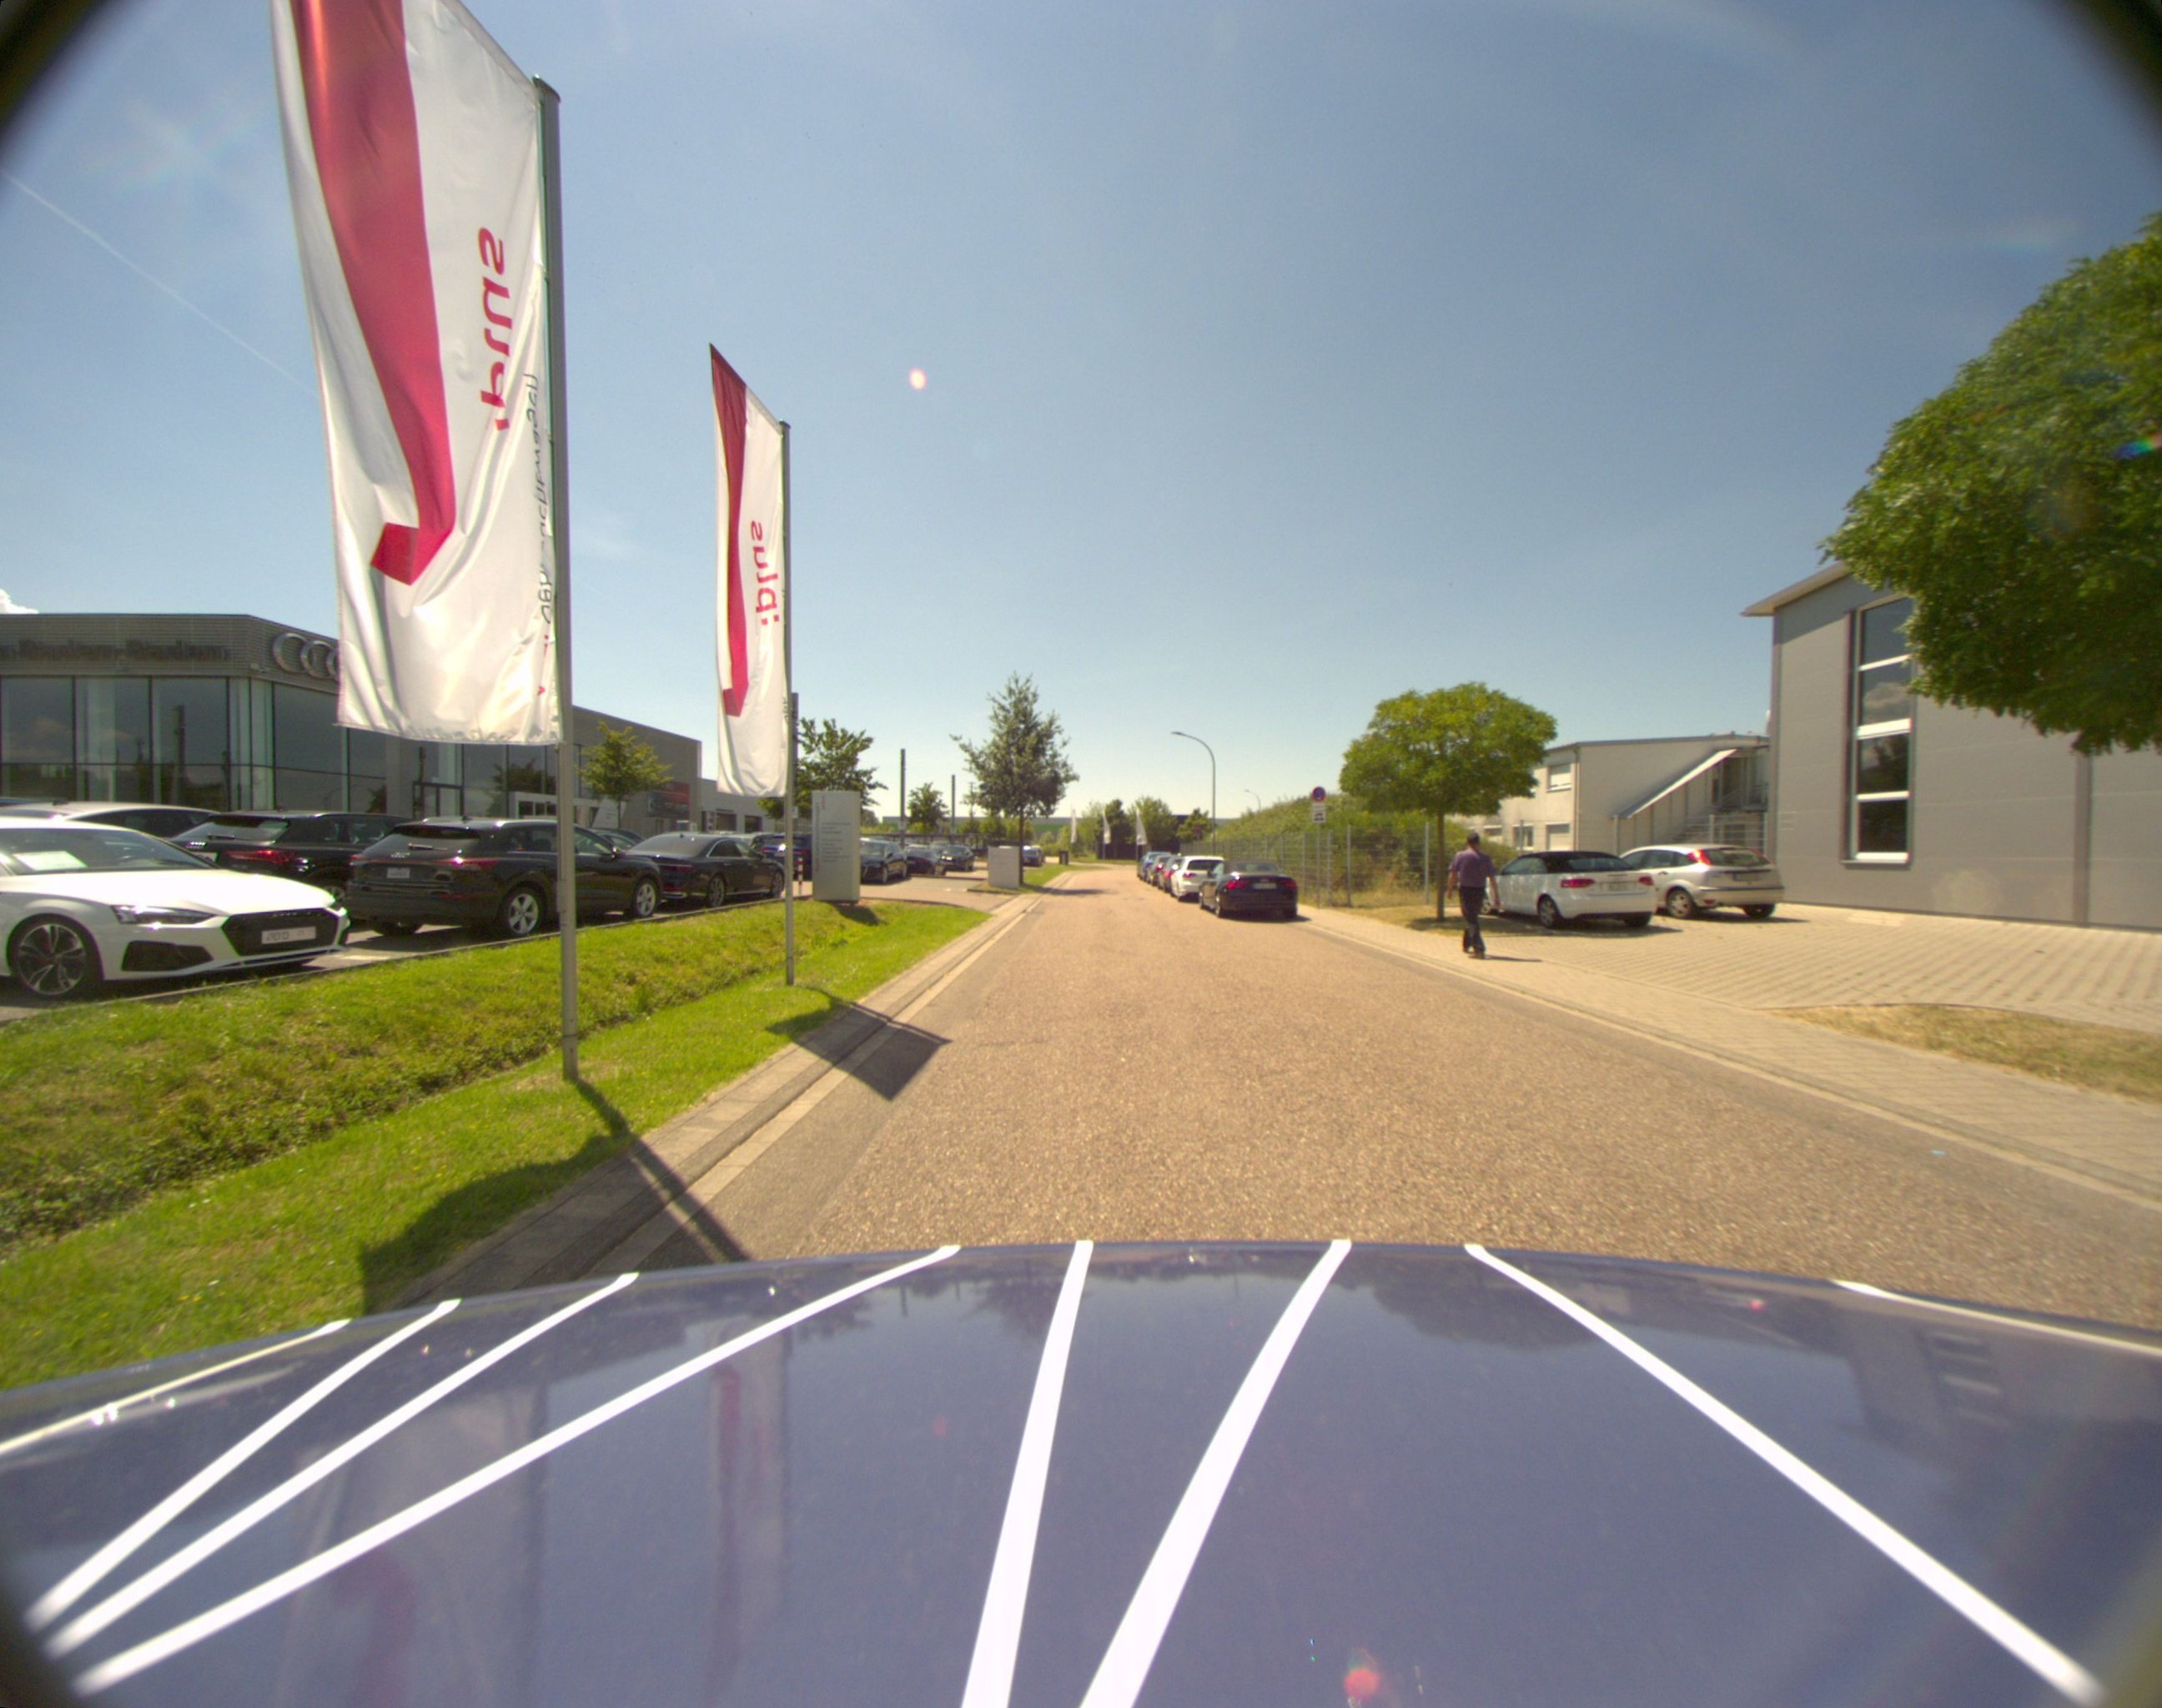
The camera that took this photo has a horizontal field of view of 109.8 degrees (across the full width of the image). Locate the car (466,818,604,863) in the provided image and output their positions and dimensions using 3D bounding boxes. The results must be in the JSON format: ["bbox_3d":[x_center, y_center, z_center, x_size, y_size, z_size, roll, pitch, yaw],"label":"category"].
[{"bbox_3d":[-21.898,-0.617,30.799,1.966,1.612,4.984,2,2,1],"label":"car"}]

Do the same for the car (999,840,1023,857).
[{"bbox_3d":[-6.602,-0.510,72.330,1.824,1.520,4.944,2,1,0],"label":"car"}]

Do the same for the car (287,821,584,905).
[{"bbox_3d":[-13.588,0.137,16.567,2.030,1.448,5.077,3,1,1],"label":"car"}]

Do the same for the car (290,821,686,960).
[{"bbox_3d":[-8.161,0.399,11.246,2.030,1.564,4.779,2,1,1],"label":"car"}]

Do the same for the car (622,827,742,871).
[{"bbox_3d":[-15.190,-0.268,29.294,1.966,1.449,4.984,2,2,1],"label":"car"}]

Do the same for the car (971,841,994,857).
[{"bbox_3d":[-10.781,-0.579,83.429,1.966,1.620,4.625,2,1,0],"label":"car"}]

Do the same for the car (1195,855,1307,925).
[{"bbox_3d":[4.094,0.797,19.049,1.829,1.491,4.525,1,1,1],"label":"car"}]

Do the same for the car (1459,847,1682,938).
[{"bbox_3d":[9.482,0.647,15.220,1.828,1.491,4.328,-2,1,3],"label":"car"}]

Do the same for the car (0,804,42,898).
[{"bbox_3d":[-19.281,-0.066,10.946,2.030,1.580,4.779,2,1,1],"label":"car"}]

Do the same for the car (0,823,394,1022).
[{"bbox_3d":[-9.310,0.472,6.731,4.540,1.449,2.031,2,1,-1],"label":"car"}]

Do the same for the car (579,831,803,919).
[{"bbox_3d":[-8.111,0.354,16.550,2.030,1.506,5.239,3,1,1],"label":"car"}]

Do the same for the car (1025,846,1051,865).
[{"bbox_3d":[-3.609,0.073,64.603,1.884,1.446,5.023,3,0,0],"label":"car"}]

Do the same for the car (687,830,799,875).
[{"bbox_3d":[-12.707,-0.121,28.937,1.966,1.449,4.984,2,2,1],"label":"car"}]

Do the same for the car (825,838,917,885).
[{"bbox_3d":[-7.737,0.217,28.498,1.966,1.449,4.984,2,2,1],"label":"car"}]

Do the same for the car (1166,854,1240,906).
[{"bbox_3d":[3.923,0.792,25.024,1.829,1.491,4.258,1,1,1],"label":"car"}]

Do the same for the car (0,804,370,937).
[{"bbox_3d":[-13.763,0.144,11.190,2.030,1.580,4.779,2,1,1],"label":"car"}]

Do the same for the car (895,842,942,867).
[{"bbox_3d":[-9.929,0.016,46.735,1.966,1.358,4.227,3,1,0],"label":"car"}]

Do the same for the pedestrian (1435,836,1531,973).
[{"bbox_3d":[5.592,0.668,10.638,0.746,1.791,1.135,-2,1,3],"label":"pedestrian"}]

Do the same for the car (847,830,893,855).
[{"bbox_3d":[-14.786,-0.824,53.394,1.966,1.604,4.288,2,1,0],"label":"car"}]

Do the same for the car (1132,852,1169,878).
[{"bbox_3d":[4.203,0.622,46.623,1.829,1.446,4.580,1,1,0],"label":"car"}]

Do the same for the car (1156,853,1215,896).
[{"bbox_3d":[4.085,0.755,30.292,1.829,1.491,4.520,1,1,1],"label":"car"}]

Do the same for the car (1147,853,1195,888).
[{"bbox_3d":[4.175,0.711,35.950,1.829,1.491,4.520,1,1,1],"label":"car"}]

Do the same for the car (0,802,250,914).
[{"bbox_3d":[-16.161,0.020,11.427,2.030,1.580,4.779,2,1,1],"label":"car"}]

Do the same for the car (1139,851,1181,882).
[{"bbox_3d":[4.220,0.620,41.288,1.829,1.561,4.386,1,1,0],"label":"car"}]

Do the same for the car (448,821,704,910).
[{"bbox_3d":[-10.782,0.184,16.912,1.901,1.564,5.475,3,1,1],"label":"car"}]

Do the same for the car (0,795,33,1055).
[{"bbox_3d":[-9.290,0.401,4.110,4.539,1.683,2.031,2,1,2],"label":"car"}]

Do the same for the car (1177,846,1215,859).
[{"bbox_3d":[13.884,-0.178,92.056,4.280,1.592,1.780,-1,1,0],"label":"car"}]

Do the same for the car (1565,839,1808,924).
[{"bbox_3d":[12.363,0.485,15.943,1.828,1.491,4.259,-2,1,3],"label":"car"}]

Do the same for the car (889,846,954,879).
[{"bbox_3d":[-7.427,0.386,35.868,1.966,1.358,4.721,3,0,1],"label":"car"}]

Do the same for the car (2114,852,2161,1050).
[{"bbox_3d":[9.100,0.737,4.185,1.687,1.491,3.703,0,0,-4],"label":"car"}]

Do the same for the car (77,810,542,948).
[{"bbox_3d":[-10.854,0.271,11.395,2.030,1.580,4.779,2,1,1],"label":"car"}]

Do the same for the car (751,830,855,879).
[{"bbox_3d":[-10.283,-0.061,28.560,1.966,1.589,4.984,2,2,1],"label":"car"}]

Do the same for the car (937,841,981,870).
[{"bbox_3d":[-7.361,0.079,46.218,1.892,1.562,4.227,3,1,0],"label":"car"}]
